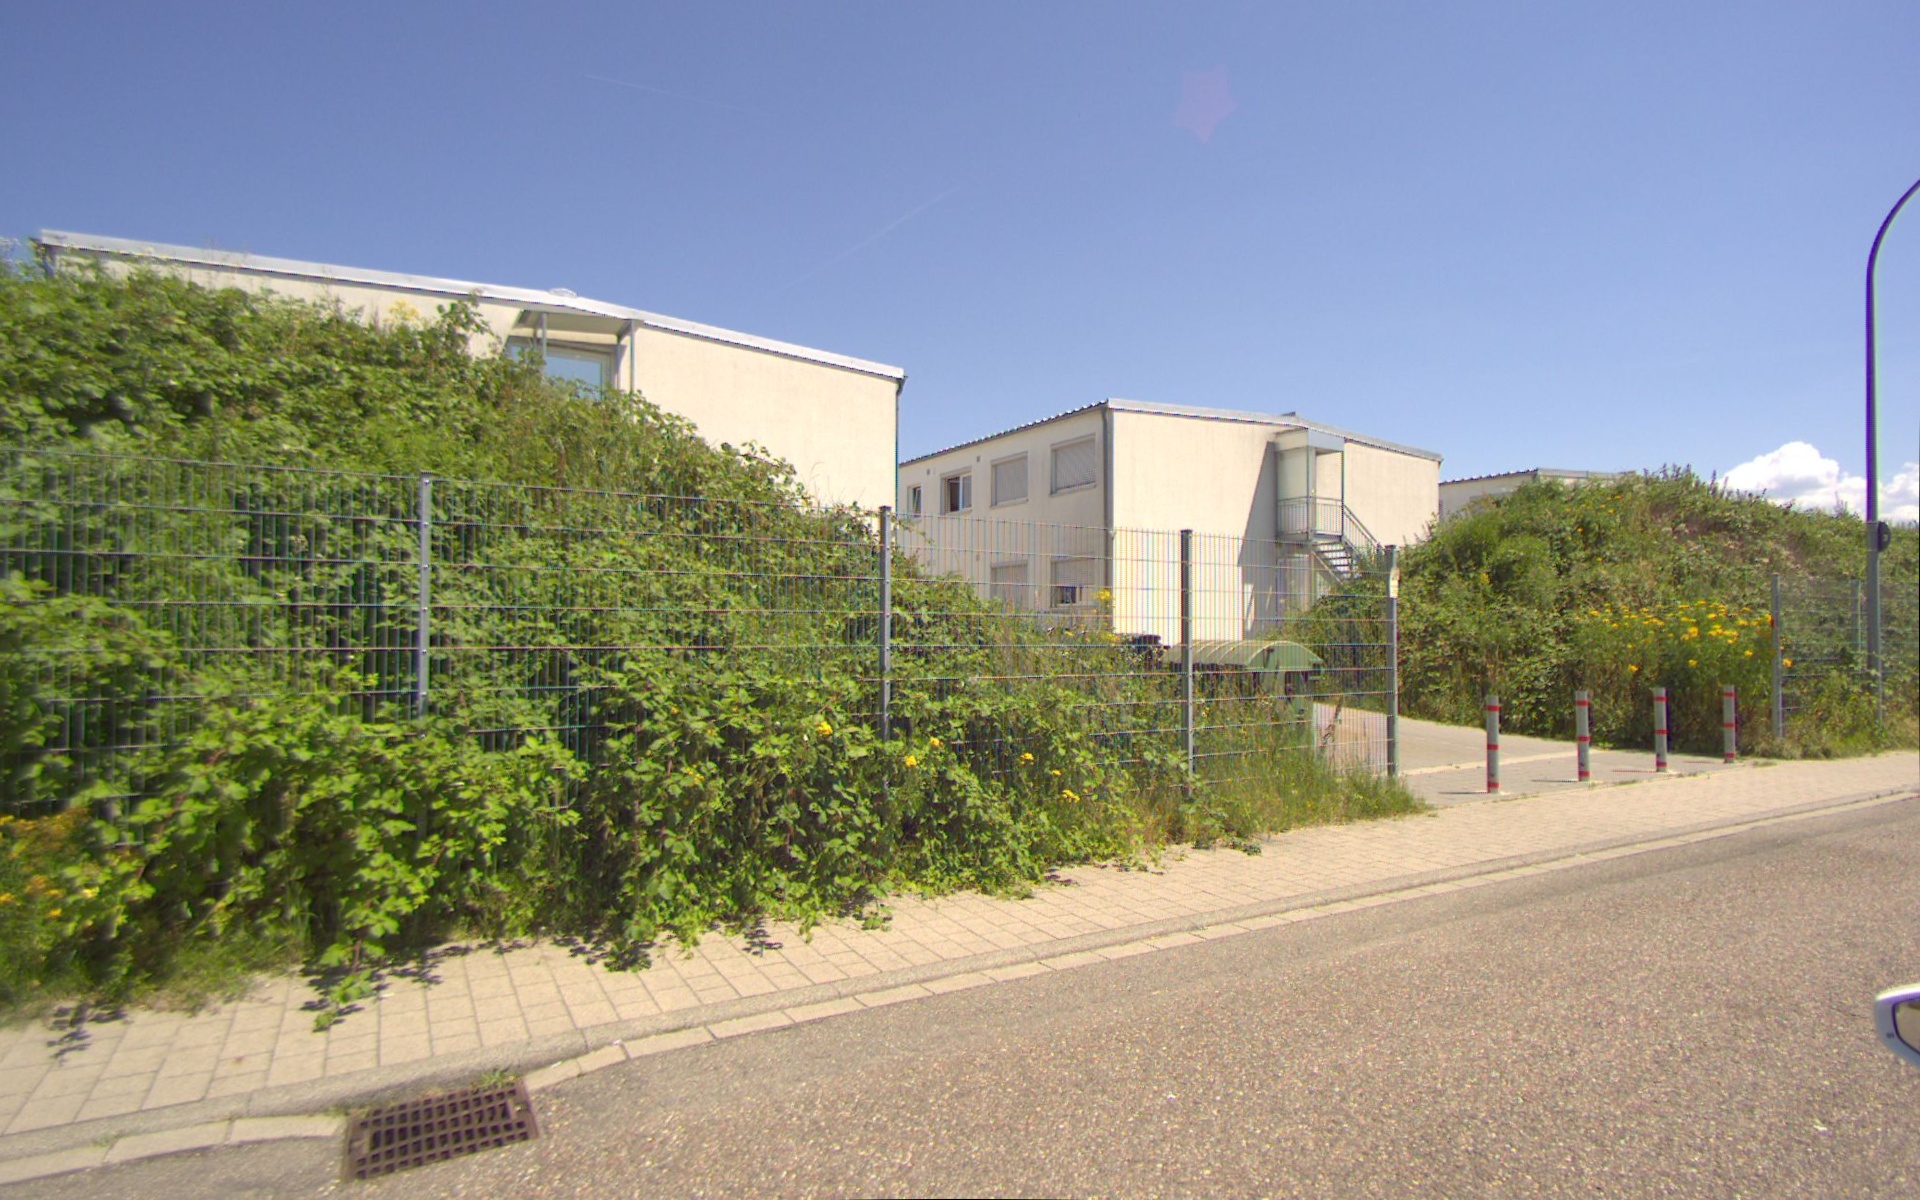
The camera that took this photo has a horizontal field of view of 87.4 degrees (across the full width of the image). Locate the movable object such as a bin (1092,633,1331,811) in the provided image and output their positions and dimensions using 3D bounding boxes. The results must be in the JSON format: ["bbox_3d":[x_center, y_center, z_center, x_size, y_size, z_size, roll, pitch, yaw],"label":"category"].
[{"bbox_3d":[2.358,1.061,9.482,1.817,1.496,1.297,1,-2,-30],"label":"movable object such as a bin"}]

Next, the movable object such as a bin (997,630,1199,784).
[{"bbox_3d":[1.520,1.117,11.186,1.745,1.485,1.343,1,2,-30],"label":"movable object such as a bin"}]
